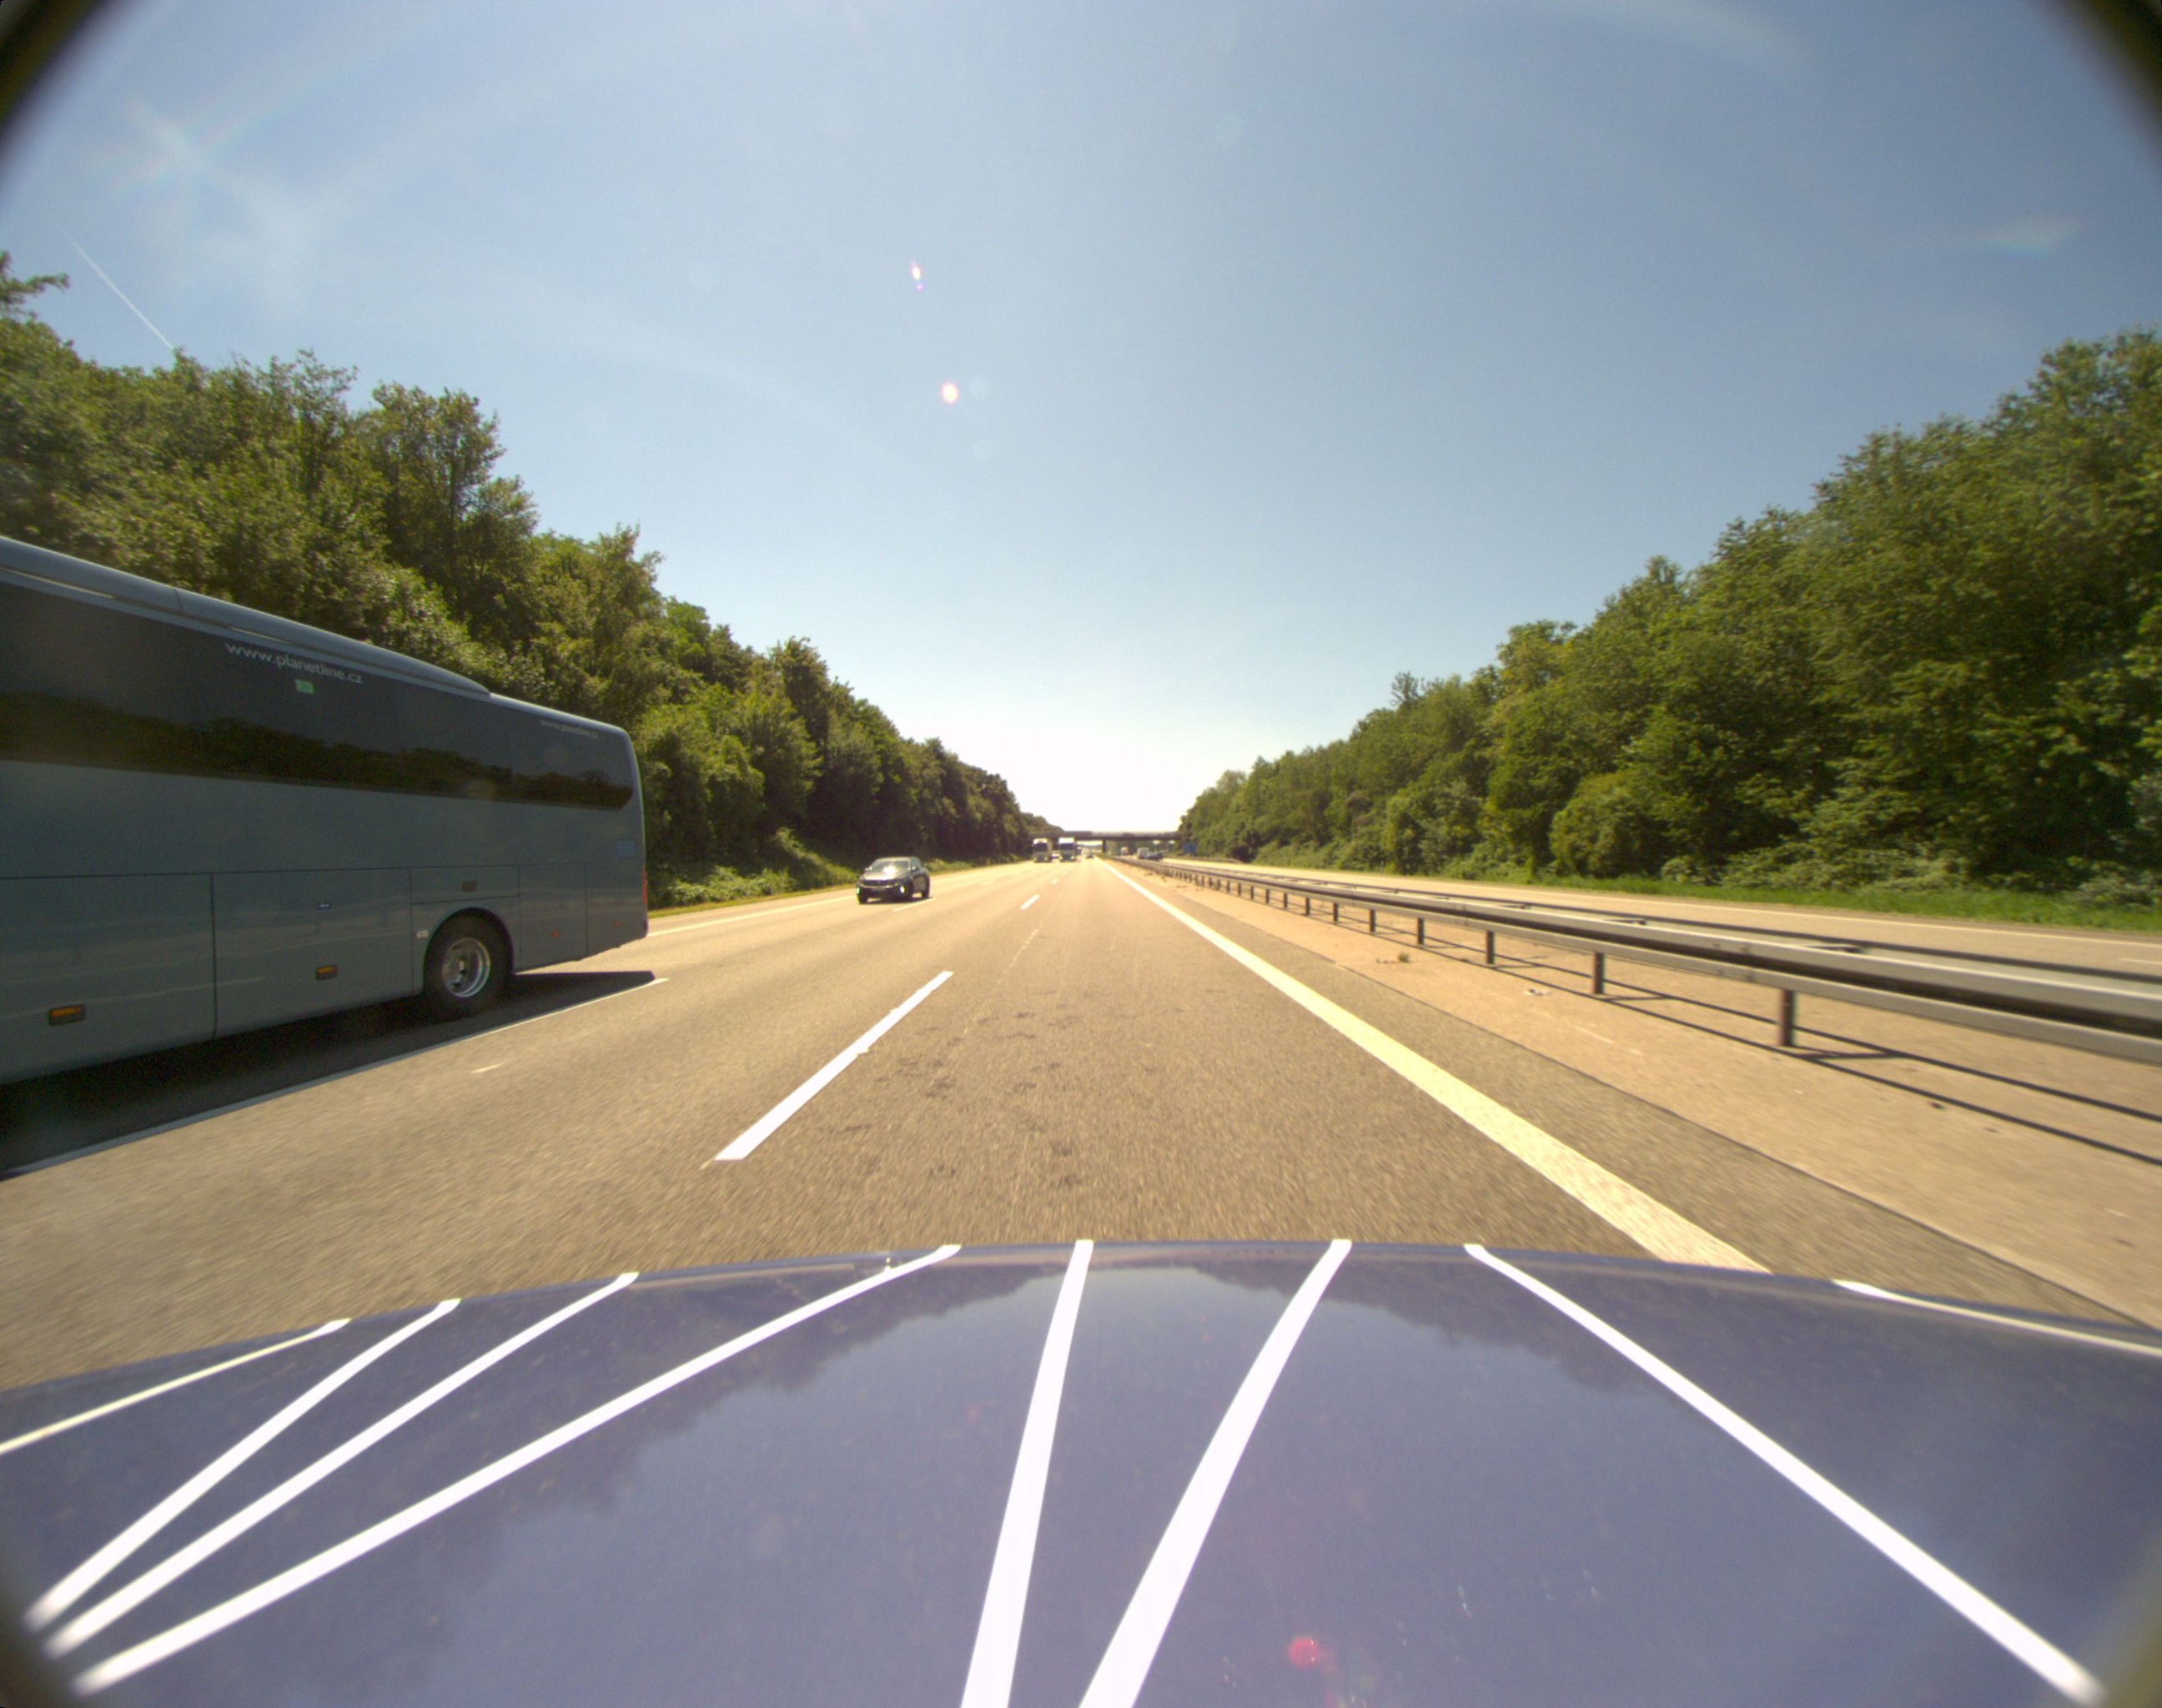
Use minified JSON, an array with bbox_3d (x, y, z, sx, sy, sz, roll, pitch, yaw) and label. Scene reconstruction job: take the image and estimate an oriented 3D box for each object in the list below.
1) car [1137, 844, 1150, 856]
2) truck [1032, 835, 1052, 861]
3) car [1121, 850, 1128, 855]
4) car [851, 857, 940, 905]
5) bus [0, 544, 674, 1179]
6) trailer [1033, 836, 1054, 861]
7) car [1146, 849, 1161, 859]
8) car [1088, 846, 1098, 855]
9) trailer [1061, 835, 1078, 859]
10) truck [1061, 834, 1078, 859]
[{"bbox_3d":[11.851,-0.733,143.991,2.092,2.275,5.276,0,0,0],"label":"car"},{"bbox_3d":[-6.474,-0.939,127.680,3.055,4.190,6.048,-2,0,0],"label":"truck"},{"bbox_3d":[13.233,-0.502,233.102,1.825,1.515,4.822,0,0,0],"label":"car"},{"bbox_3d":[-6.580,0.898,27.503,1.904,1.523,4.760,-2,0,2],"label":"car"},{"bbox_3d":[-7.495,0.057,5.059,2.809,3.575,12.472,-1,0,0],"label":"bus"},{"bbox_3d":[-6.525,-0.908,134.157,3.047,4.200,13.834,-2,0,0],"label":"trailer"},{"bbox_3d":[10.609,0.014,111.445,1.810,1.472,4.567,0,1,0],"label":"car"},{"bbox_3d":[2.602,-0.787,172.024,2.073,1.959,5.109,0,0,-1],"label":"car"},{"bbox_3d":[-2.020,-1.263,137.651,2.684,4.046,13.834,-2,0,0],"label":"trailer"},{"bbox_3d":[-1.982,-1.233,129.723,2.684,4.046,6.048,-2,0,0],"label":"truck"}]
